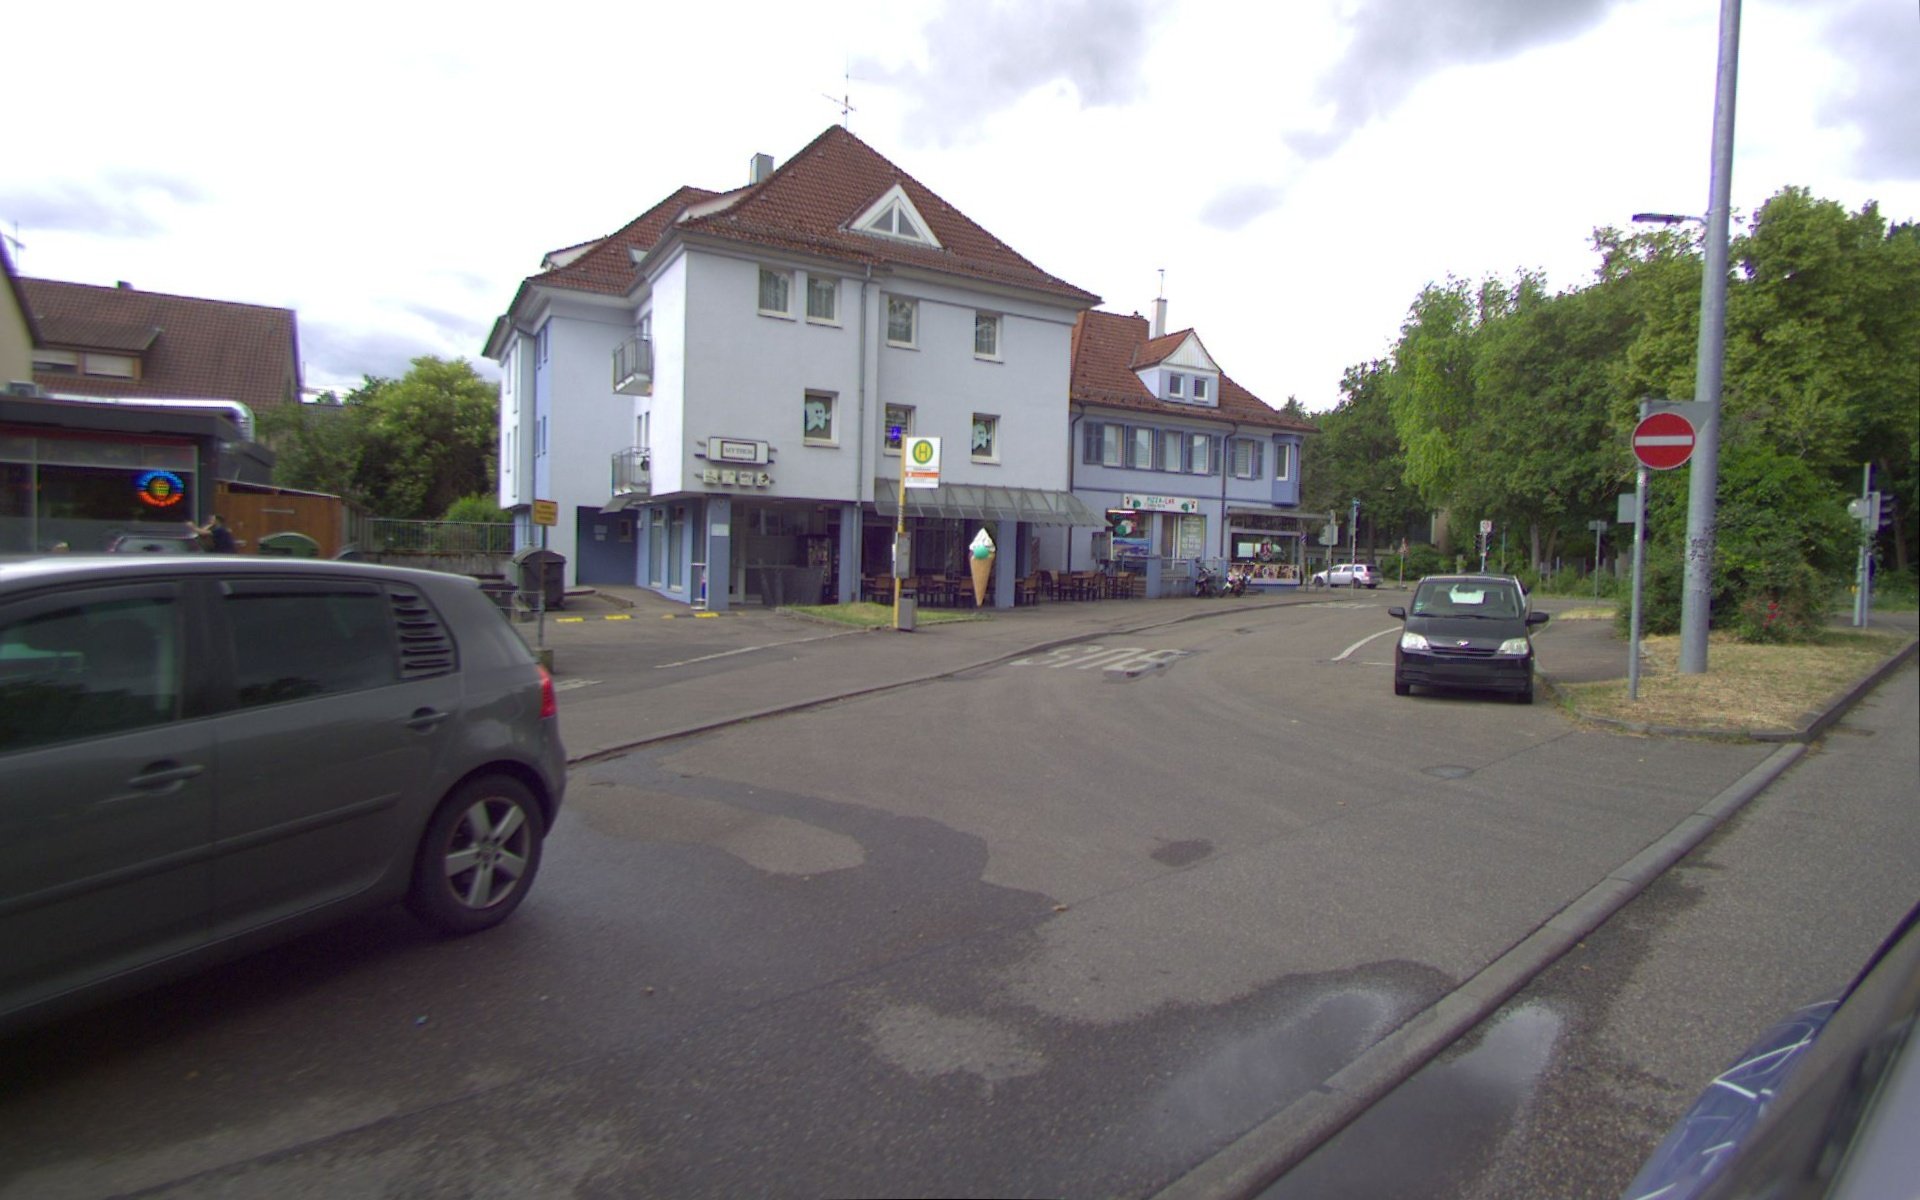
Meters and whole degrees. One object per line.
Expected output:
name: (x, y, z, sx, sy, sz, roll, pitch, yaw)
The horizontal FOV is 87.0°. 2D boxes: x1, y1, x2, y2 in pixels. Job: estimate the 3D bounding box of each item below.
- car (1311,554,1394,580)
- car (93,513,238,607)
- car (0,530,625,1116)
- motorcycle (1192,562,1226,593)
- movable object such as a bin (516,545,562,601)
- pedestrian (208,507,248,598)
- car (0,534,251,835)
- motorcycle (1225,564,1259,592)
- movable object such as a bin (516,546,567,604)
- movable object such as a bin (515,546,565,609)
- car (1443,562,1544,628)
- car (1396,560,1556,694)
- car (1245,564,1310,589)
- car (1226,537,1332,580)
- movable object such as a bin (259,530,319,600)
car: (23.839, -2.019, 61.662, 1.862, 1.473, 4.554, -1, 3, -29)
car: (-15.211, -0.813, 19.551, 1.591, 1.650, 3.431, 0, 4, -28)
car: (-3.058, 0.517, 3.041, 1.712, 1.447, 4.085, 2, 1, 20)
motorcycle: (8.941, -0.820, 36.256, 0.487, 1.044, 1.701, 3, 4, 39)
movable object such as a bin: (-11.111, -0.728, 26.698, 1.072, 1.412, 1.221, 0, 3, -25)
pedestrian: (-14.409, -0.932, 19.929, 0.600, 1.750, 0.689, -1, 3, -34)
car: (-6.511, 0.318, 5.491, 4.184, 1.397, 1.764, 1, 2, 3)
motorcycle: (10.558, -0.821, 37.864, 0.519, 0.997, 1.798, 3, 3, 39)
movable object such as a bin: (-10.563, -0.646, 25.504, 1.137, 1.412, 1.221, 0, 3, -25)
movable object such as a bin: (-10.066, -0.559, 24.231, 1.072, 1.433, 1.221, 0, 3, -25)
car: (13.652, -0.201, 25.763, 1.984, 1.403, 4.737, 3, 4, 31)
car: (6.488, 0.241, 12.949, 1.557, 1.421, 3.465, 2, 2, 25)
car: (20.950, -1.580, 66.833, 1.765, 1.473, 3.965, -1, 3, -29)
car: (18.687, -2.473, 59.585, 2.290, 2.421, 5.968, -1, 3, -30)
movable object such as a bin: (-13.645, -0.735, 20.575, 0.976, 1.361, 1.221, -1, 4, -34)
